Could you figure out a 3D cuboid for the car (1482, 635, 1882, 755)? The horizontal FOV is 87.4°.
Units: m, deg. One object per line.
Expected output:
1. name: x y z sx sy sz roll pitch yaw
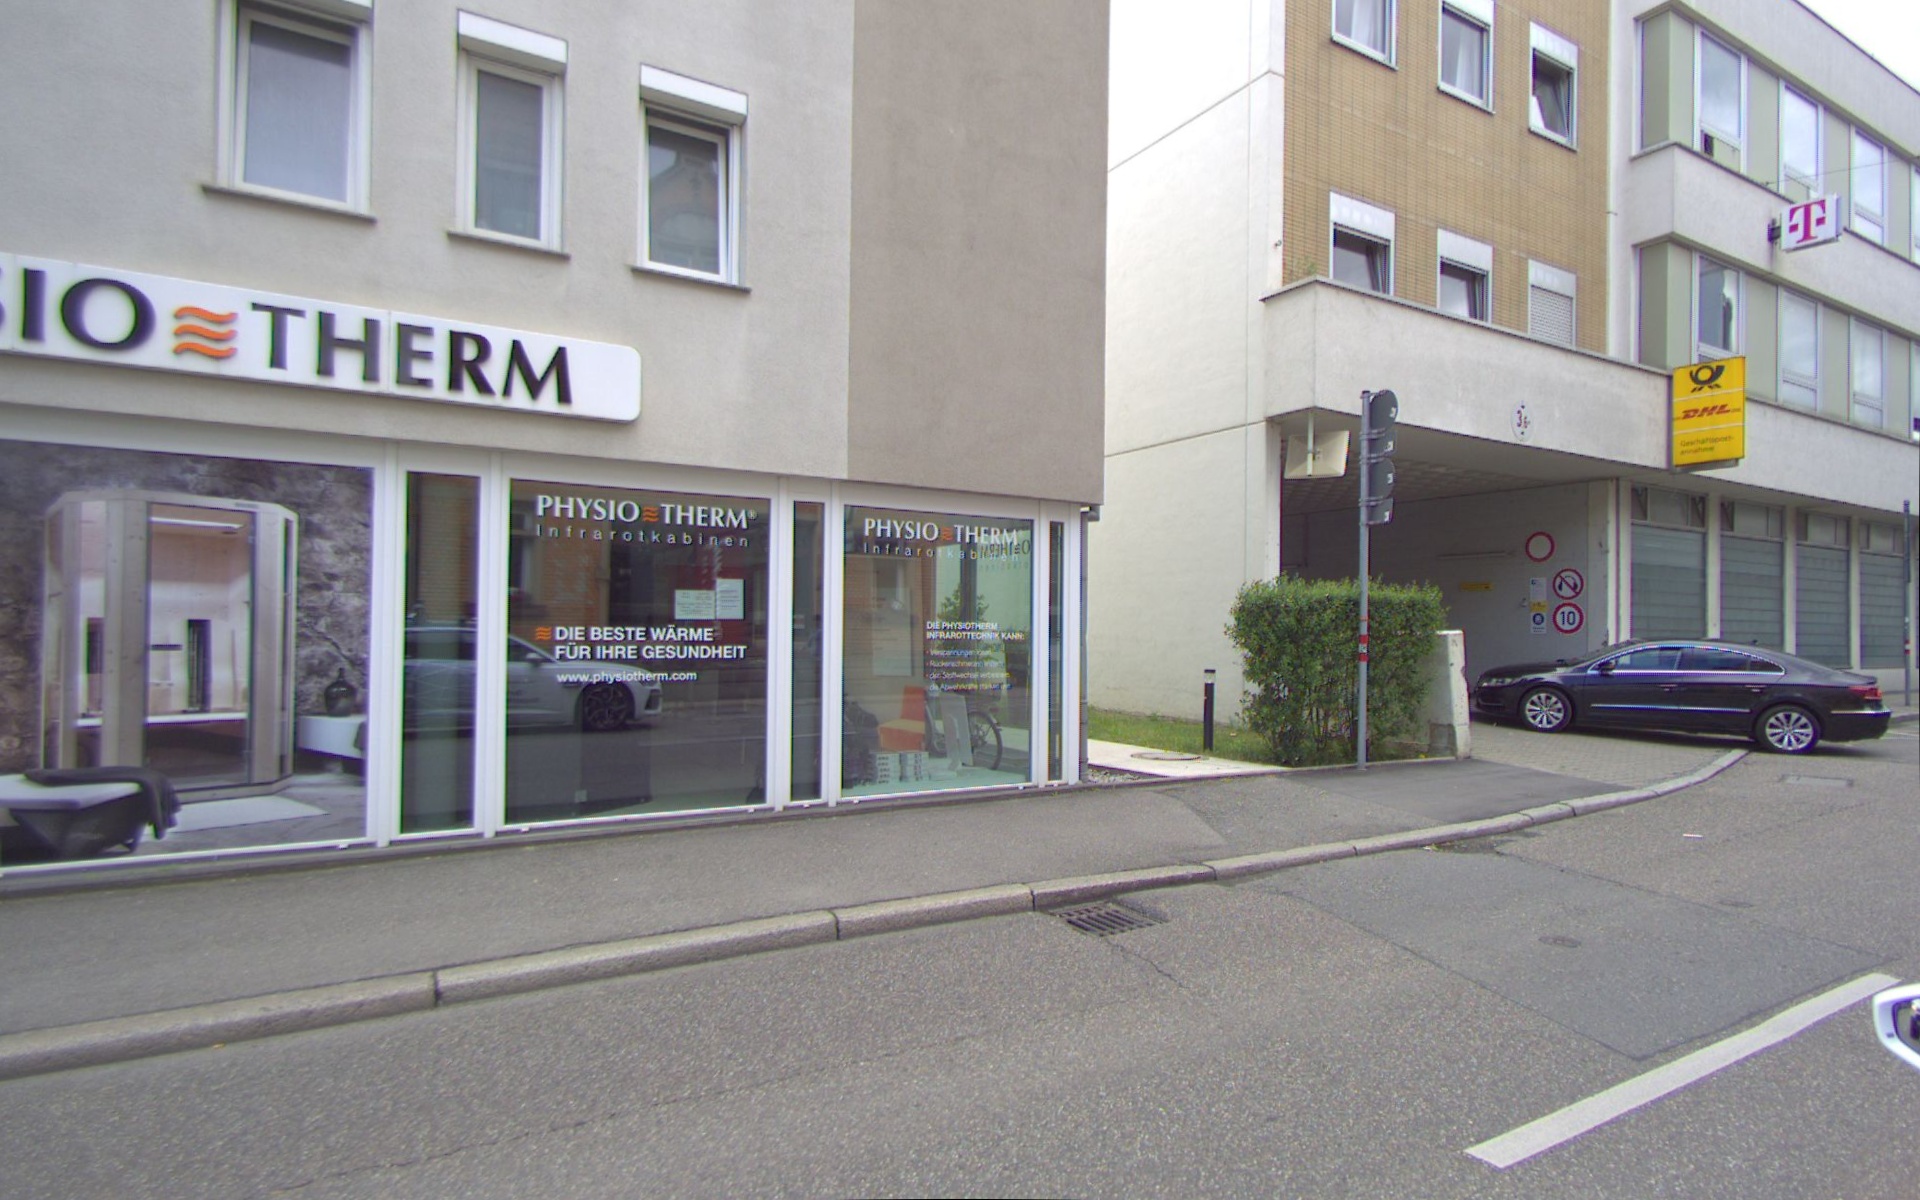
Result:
1. car: 9.829 1.222 14.122 4.335 1.384 1.782 0 -1 31
